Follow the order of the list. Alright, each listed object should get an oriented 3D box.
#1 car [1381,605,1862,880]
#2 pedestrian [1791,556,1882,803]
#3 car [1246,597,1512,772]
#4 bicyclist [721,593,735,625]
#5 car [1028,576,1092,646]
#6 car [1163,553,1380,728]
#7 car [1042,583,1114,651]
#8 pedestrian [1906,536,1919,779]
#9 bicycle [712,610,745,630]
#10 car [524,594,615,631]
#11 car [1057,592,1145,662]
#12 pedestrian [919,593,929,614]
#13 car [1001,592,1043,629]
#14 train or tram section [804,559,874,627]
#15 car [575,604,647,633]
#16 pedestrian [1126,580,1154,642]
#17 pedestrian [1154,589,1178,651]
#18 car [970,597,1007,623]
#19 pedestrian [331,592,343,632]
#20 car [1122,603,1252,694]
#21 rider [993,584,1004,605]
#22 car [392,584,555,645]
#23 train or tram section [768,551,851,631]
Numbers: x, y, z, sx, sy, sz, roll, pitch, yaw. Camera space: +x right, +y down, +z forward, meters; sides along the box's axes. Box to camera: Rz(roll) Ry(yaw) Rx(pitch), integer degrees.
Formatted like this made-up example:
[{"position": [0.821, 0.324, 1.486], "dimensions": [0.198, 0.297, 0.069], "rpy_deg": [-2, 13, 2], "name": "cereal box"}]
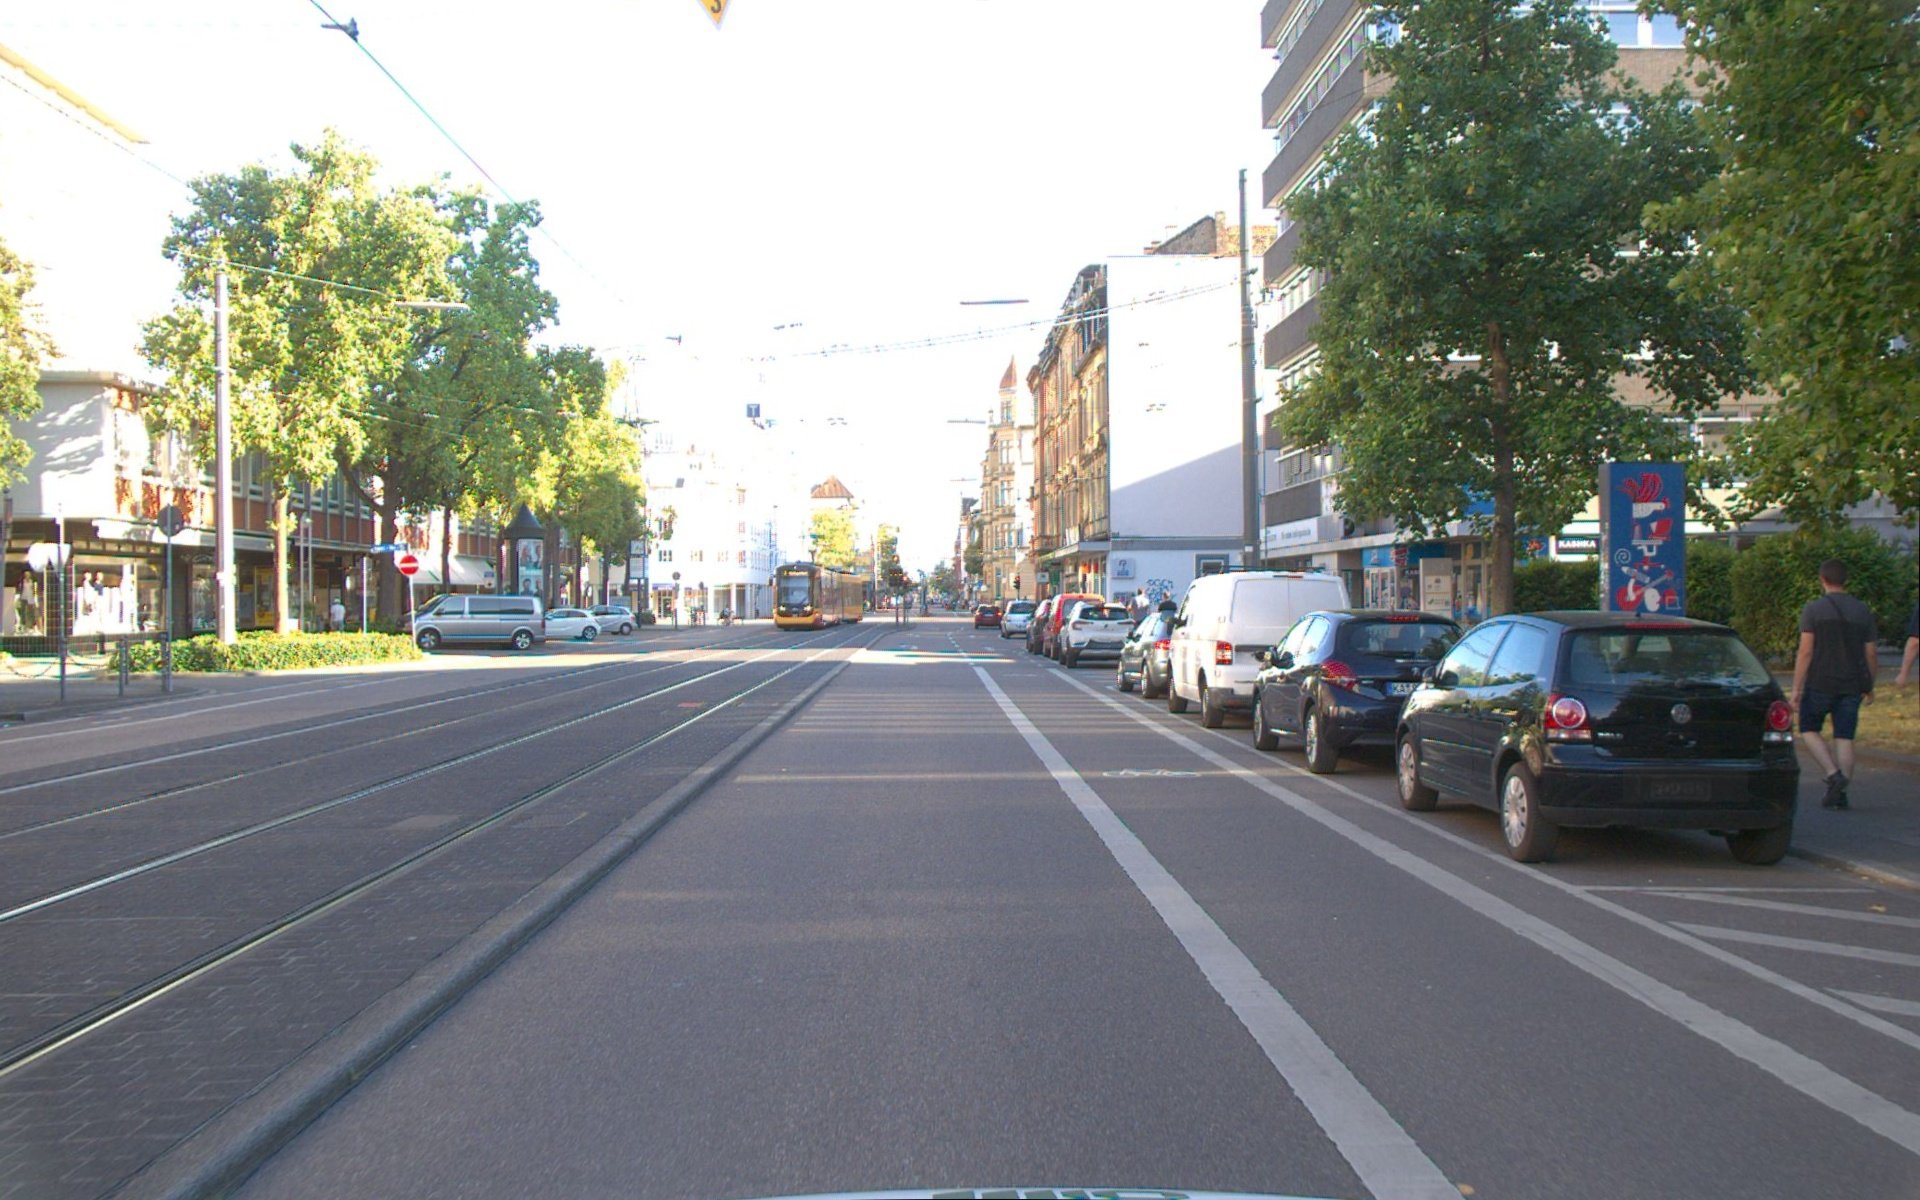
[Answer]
[{"position": [4.135, 0.784, 11.058], "dimensions": [1.588, 1.456, 3.984], "rpy_deg": [0, 0, -1], "name": "car"}, {"position": [6.355, 0.569, 12.009], "dimensions": [0.417, 1.739, 0.454], "rpy_deg": [-3, 1, 17], "name": "pedestrian"}, {"position": [4.006, 0.736, 16.441], "dimensions": [1.588, 1.499, 3.970], "rpy_deg": [0, 0, -1], "name": "car"}, {"position": [-15.208, 0.576, 108.284], "dimensions": [0.706, 2.049, 0.701], "rpy_deg": [2, 0, 5], "name": "bicyclist"}, {"position": [3.062, 0.314, 51.214], "dimensions": [1.588, 2.041, 3.830], "rpy_deg": [1, 0, -2], "name": "car"}, {"position": [4.045, 0.464, 22.270], "dimensions": [1.931, 2.049, 4.557], "rpy_deg": [-2, 1, -1], "name": "car"}, {"position": [3.319, 0.446, 47.111], "dimensions": [1.588, 1.845, 4.082], "rpy_deg": [1, 0, -2], "name": "car"}, {"position": [7.113, 0.414, 11.816], "dimensions": [0.488, 1.739, 0.454], "rpy_deg": [-2, 3, 17], "name": "pedestrian"}, {"position": [-15.132, 1.305, 108.285], "dimensions": [1.977, 1.261, 0.701], "rpy_deg": [2, 0, 5], "name": "bicycle"}, {"position": [-18.646, 0.596, 79.002], "dimensions": [3.832, 1.656, 1.855], "rpy_deg": [1, 0, -32], "name": "car"}, {"position": [3.443, 0.630, 40.978], "dimensions": [1.688, 1.595, 4.082], "rpy_deg": [-1, 1, -2], "name": "car"}, {"position": [-3.571, 0.302, 163.597], "dimensions": [0.901, 2.049, 0.759], "rpy_deg": [2, 0, -1], "name": "pedestrian"}, {"position": [2.753, 0.452, 73.751], "dimensions": [1.588, 1.582, 4.082], "rpy_deg": [1, 0, -2], "name": "car"}, {"position": [-7.418, -0.449, 103.402], "dimensions": [2.635, 3.946, 12.849], "rpy_deg": [2, 0, 3], "name": "train or tram section"}, {"position": [-18.839, 1.008, 89.429], "dimensions": [3.488, 1.507, 1.564], "rpy_deg": [1, 0, -34], "name": "car"}, {"position": [5.150, 0.310, 47.365], "dimensions": [0.716, 1.752, 0.834], "rpy_deg": [0, 0, -1], "name": "pedestrian"}, {"position": [5.929, 0.568, 47.566], "dimensions": [0.612, 1.752, 0.628], "rpy_deg": [0, 0, -1], "name": "pedestrian"}, {"position": [1.714, 0.598, 100.394], "dimensions": [2.024, 1.413, 4.224], "rpy_deg": [2, 0, -1], "name": "car"}, {"position": [-21.717, 0.426, 57.693], "dimensions": [0.357, 1.367, 0.480], "rpy_deg": [2, 0, -21], "name": "pedestrian"}, {"position": [3.847, 0.789, 28.571], "dimensions": [1.588, 1.394, 3.929], "rpy_deg": [1, 0, -2], "name": "car"}, {"position": [2.840, -0.396, 121.227], "dimensions": [0.695, 1.507, 0.887], "rpy_deg": [1, 0, 8], "name": "rider"}, {"position": [-17.548, 0.561, 59.741], "dimensions": [5.205, 2.078, 2.391], "rpy_deg": [2, -1, -34], "name": "car"}, {"position": [-8.126, -0.490, 90.948], "dimensions": [2.635, 4.029, 12.095], "rpy_deg": [2, 0, 3], "name": "train or tram section"}]
